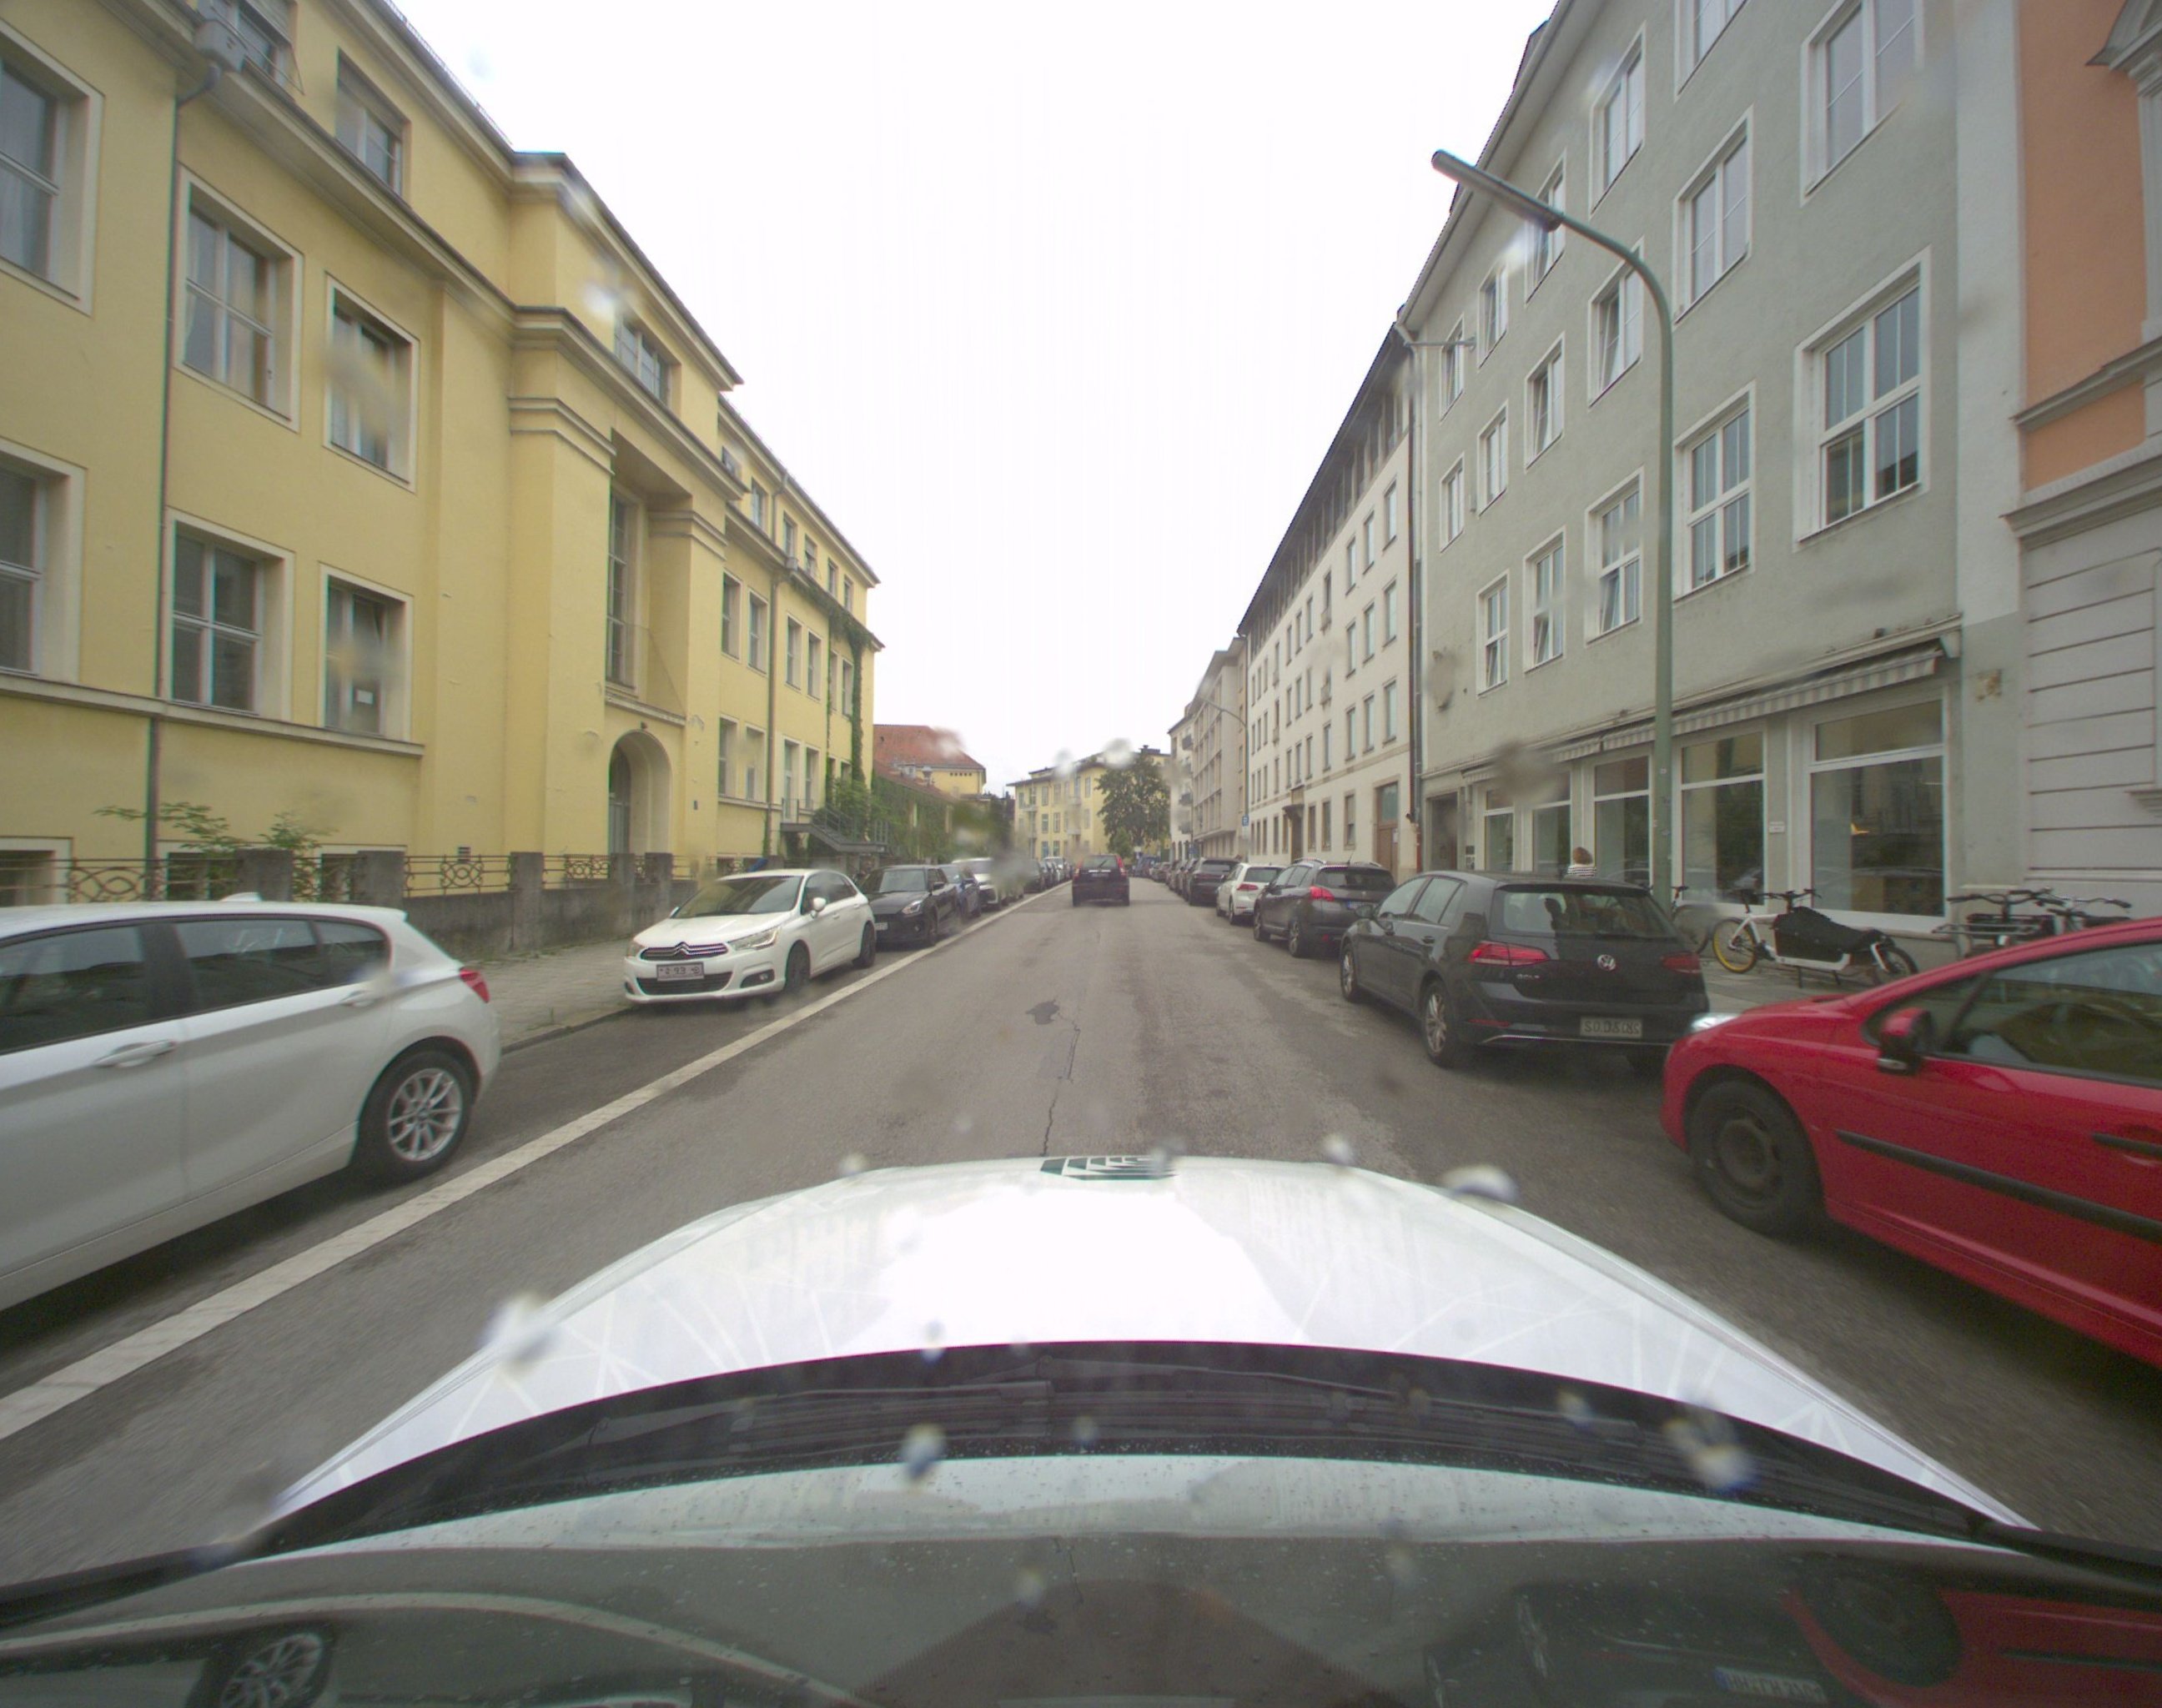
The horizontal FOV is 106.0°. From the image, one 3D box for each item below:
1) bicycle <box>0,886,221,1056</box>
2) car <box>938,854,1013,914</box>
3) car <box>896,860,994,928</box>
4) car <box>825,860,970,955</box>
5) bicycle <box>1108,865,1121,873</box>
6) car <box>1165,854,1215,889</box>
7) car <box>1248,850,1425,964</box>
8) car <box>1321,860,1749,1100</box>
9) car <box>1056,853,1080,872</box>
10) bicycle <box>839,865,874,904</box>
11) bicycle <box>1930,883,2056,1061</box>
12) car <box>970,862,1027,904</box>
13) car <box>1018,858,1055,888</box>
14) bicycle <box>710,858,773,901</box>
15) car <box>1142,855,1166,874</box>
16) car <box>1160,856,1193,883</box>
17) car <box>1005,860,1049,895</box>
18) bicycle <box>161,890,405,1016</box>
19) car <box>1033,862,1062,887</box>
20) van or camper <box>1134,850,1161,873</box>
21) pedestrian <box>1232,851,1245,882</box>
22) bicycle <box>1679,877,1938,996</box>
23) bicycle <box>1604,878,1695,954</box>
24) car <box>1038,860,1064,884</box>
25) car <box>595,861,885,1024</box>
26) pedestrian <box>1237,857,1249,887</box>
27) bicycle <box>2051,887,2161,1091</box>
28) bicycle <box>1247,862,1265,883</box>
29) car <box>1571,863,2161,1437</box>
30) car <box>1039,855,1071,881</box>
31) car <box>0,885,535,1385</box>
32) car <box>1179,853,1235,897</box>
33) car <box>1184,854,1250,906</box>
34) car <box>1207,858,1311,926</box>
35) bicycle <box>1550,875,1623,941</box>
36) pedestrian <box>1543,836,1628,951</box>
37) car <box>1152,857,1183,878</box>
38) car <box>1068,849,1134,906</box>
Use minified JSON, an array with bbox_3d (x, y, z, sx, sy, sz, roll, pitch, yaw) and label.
[{"bbox_3d":[-8.264,0.900,6.612,0.583,1.198,1.720,2,0,6],"label":"bicycle"},{"bbox_3d":[-3.192,0.875,25.480,1.674,1.634,4.357,-3,0,0],"label":"car"},{"bbox_3d":[-3.389,0.951,20.985,1.673,1.505,3.975,-3,0,2],"label":"car"},{"bbox_3d":[-3.341,0.909,15.604,1.673,1.495,3.987,-3,0,2],"label":"car"},{"bbox_3d":[5.079,2.293,123.316,2.189,1.117,0.614,0,-1,43],"label":"bicycle"},{"bbox_3d":[5.039,0.769,38.190,1.849,1.544,4.818,-1,0,2],"label":"car"},{"bbox_3d":[4.112,0.777,13.799,1.686,1.583,4.083,2,0,0],"label":"car"},{"bbox_3d":[3.499,0.814,7.246,1.685,1.451,4.086,2,0,3],"label":"car"},{"bbox_3d":[-1.028,0.672,66.222,1.694,1.423,4.428,0,0,3],"label":"car"},{"bbox_3d":[-7.308,0.975,26.522,0.574,1.189,1.563,3,-1,3],"label":"bicycle"},{"bbox_3d":[7.397,0.860,6.663,2.107,1.183,0.602,0,0,-44],"label":"bicycle"},{"bbox_3d":[-3.078,1.040,31.053,1.674,1.426,3.894,-2,0,0],"label":"car"},{"bbox_3d":[-2.375,1.027,44.683,1.776,1.538,4.149,0,0,0],"label":"car"},{"bbox_3d":[-10.102,0.755,24.267,1.551,1.189,0.578,3,-1,1],"label":"bicycle"},{"bbox_3d":[7.135,0.987,79.779,1.958,1.816,4.935,0,0,0],"label":"car"},{"bbox_3d":[5.584,0.897,48.058,1.665,1.535,3.884,0,0,3],"label":"car"},{"bbox_3d":[-2.538,1.076,38.830,1.776,1.538,4.195,0,0,0],"label":"car"},{"bbox_3d":[-8.173,0.956,8.458,0.581,1.077,1.724,2,0,15],"label":"bicycle"},{"bbox_3d":[-2.001,1.218,49.862,1.573,1.455,3.904,-1,0,0],"label":"car"},{"bbox_3d":[6.968,0.774,85.512,2.056,2.231,5.431,-1,0,-4],"label":"van or camper"},{"bbox_3d":[8.731,0.686,45.247,0.594,1.654,0.631,-1,0,2],"label":"pedestrian"},{"bbox_3d":[7.871,0.825,9.030,0.766,1.075,2.460,0,0,3],"label":"bicycle"},{"bbox_3d":[8.369,0.880,12.049,0.329,1.004,1.522,-1,0,3],"label":"bicycle"},{"bbox_3d":[-1.978,1.183,54.882,1.573,1.492,3.730,-1,0,0],"label":"car"},{"bbox_3d":[-3.916,0.903,10.203,1.716,1.527,4.089,-3,0,2],"label":"car"},{"bbox_3d":[8.536,0.932,42.862,0.529,1.584,0.560,0,0,2],"label":"pedestrian"},{"bbox_3d":[7.415,0.863,5.738,2.107,1.183,0.602,0,0,-44],"label":"bicycle"},{"bbox_3d":[9.987,1.028,46.629,0.656,1.163,2.029,-1,-1,3],"label":"bicycle"},{"bbox_3d":[3.588,0.801,2.479,1.593,1.451,4.301,2,0,0],"label":"car"},{"bbox_3d":[-1.866,0.992,59.913,1.985,1.875,4.762,0,0,3],"label":"car"},{"bbox_3d":[-4.062,0.916,2.749,1.669,1.398,3.996,-3,0,0],"label":"car"},{"bbox_3d":[4.927,0.782,32.403,1.771,1.584,4.275,-1,0,3],"label":"car"},{"bbox_3d":[4.441,0.795,27.161,1.770,1.584,4.334,1,0,4],"label":"car"},{"bbox_3d":[4.303,0.860,20.265,1.686,1.464,4.083,2,0,0],"label":"car"},{"bbox_3d":[8.456,0.874,13.680,0.329,1.004,1.522,-1,0,3],"label":"bicycle"},{"bbox_3d":[7.446,0.565,12.049,0.731,1.625,0.829,-1,-1,3],"label":"pedestrian"},{"bbox_3d":[6.159,0.934,58.303,1.790,1.420,4.483,-1,0,1],"label":"car"},{"bbox_3d":[0.747,0.734,27.007,1.987,1.694,4.384,-1,0,4],"label":"car"}]
